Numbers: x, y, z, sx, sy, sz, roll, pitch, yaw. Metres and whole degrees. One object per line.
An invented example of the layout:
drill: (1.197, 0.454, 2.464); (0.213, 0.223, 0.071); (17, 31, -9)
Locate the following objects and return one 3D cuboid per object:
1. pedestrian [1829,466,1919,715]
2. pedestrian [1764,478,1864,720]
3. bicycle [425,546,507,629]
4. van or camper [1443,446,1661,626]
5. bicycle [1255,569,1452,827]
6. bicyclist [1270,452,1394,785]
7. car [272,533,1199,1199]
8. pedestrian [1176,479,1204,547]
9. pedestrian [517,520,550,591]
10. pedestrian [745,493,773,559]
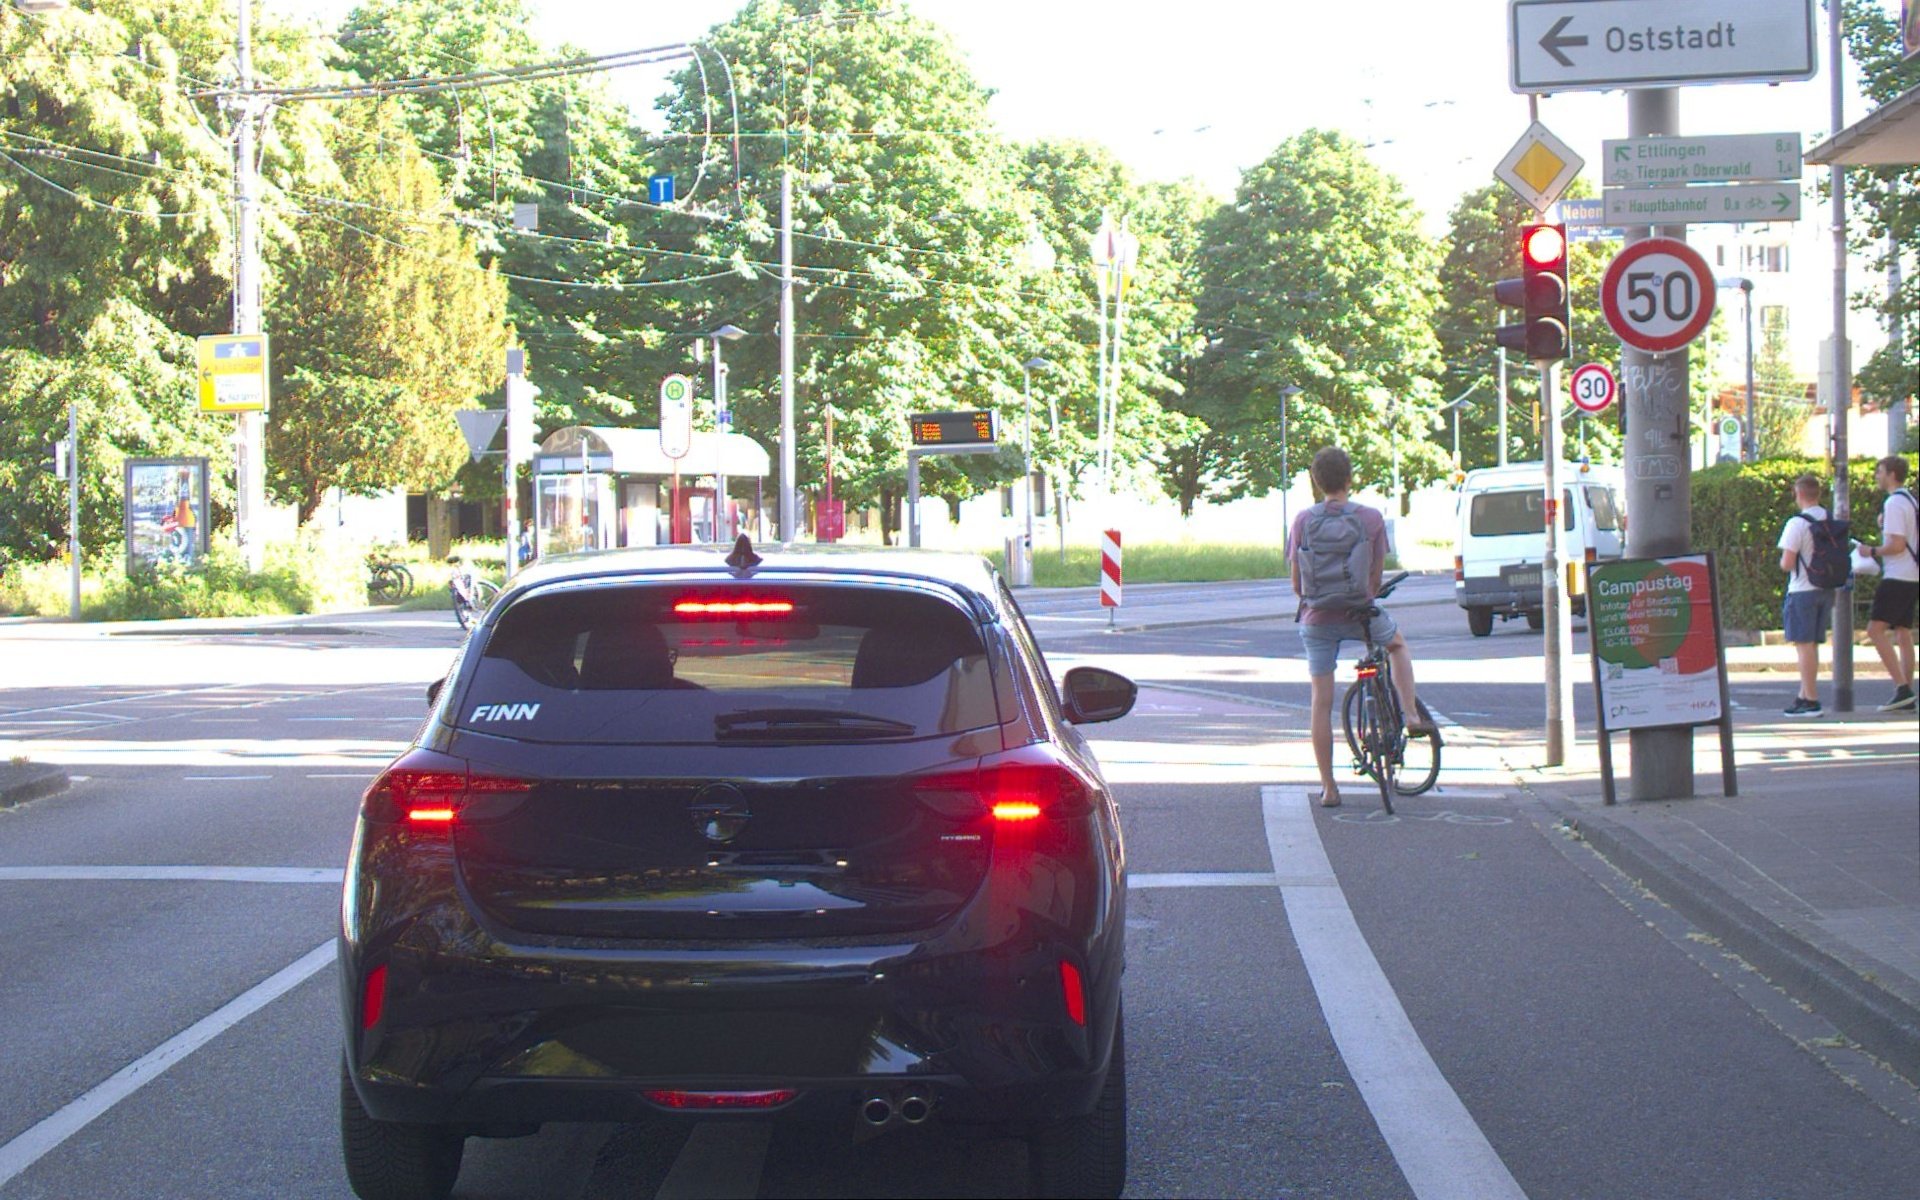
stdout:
pedestrian: (6.952, -0.077, 25.507); (0.745, 1.814, 0.633); (1, 1, 41)
pedestrian: (6.313, -0.013, 25.398); (0.633, 1.757, 0.582); (1, 0, 20)
bicycle: (-6.630, -0.186, 46.207); (0.796, 1.061, 2.185); (0, 1, -1)
van or camper: (8.026, -0.841, 46.279); (2.031, 2.302, 4.535); (1, 1, 21)
bicycle: (2.080, 0.472, 17.944); (0.753, 1.231, 2.014); (0, 1, 14)
bicyclist: (1.926, 0.089, 17.767); (0.534, 1.686, 0.567); (0, 1, 17)
car: (-0.469, 0.568, 8.829); (1.840, 1.457, 3.984); (0, 1, -1)
pedestrian: (6.439, -2.434, 96.243); (0.519, 1.865, 0.604); (1, 1, 40)
pedestrian: (-8.899, -0.930, 71.772); (0.570, 1.467, 0.665); (0, 1, 2)
pedestrian: (-5.779, -2.127, 98.807); (0.737, 1.865, 0.662); (1, 0, -6)
